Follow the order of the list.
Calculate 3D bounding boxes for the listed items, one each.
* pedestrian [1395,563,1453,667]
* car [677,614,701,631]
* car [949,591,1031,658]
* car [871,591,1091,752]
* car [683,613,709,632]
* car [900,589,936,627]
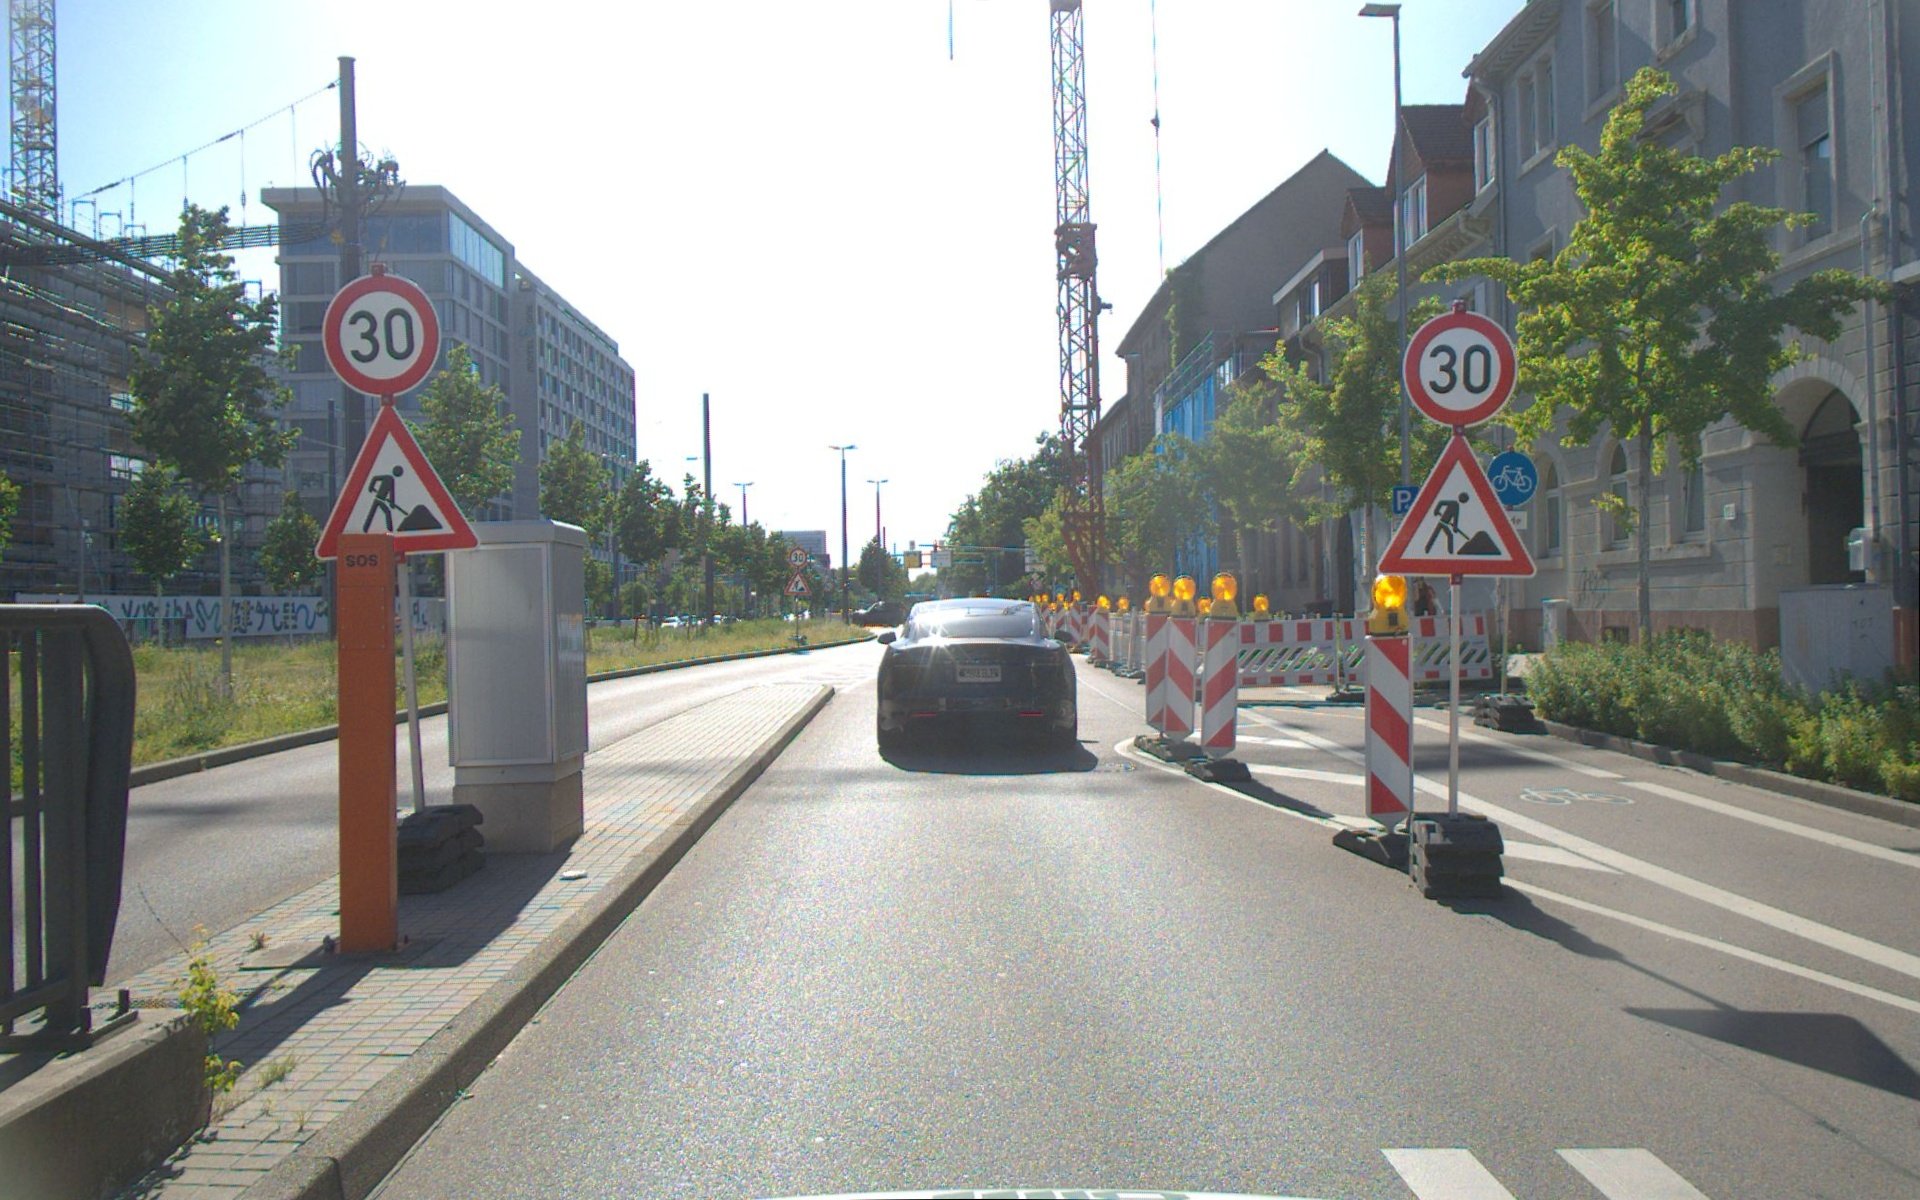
[{"bbox_3d":[8.826,0.278,31.460,0.780,1.962,0.767,0,0,-15],"label":"pedestrian"},{"bbox_3d":[-27.259,2.247,166.464,1.754,1.680,3.999,-2,-1,0],"label":"car"},{"bbox_3d":[0.637,0.549,38.442,1.712,1.452,4.837,-1,0,-1],"label":"car"},{"bbox_3d":[0.156,0.667,17.396,2.009,1.469,4.523,0,0,-1],"label":"car"},{"bbox_3d":[-24.677,2.088,154.829,1.754,1.680,3.999,-2,-1,0],"label":"car"},{"bbox_3d":[-2.625,0.509,102.957,2.173,2.307,4.482,0,0,-2],"label":"car"}]
